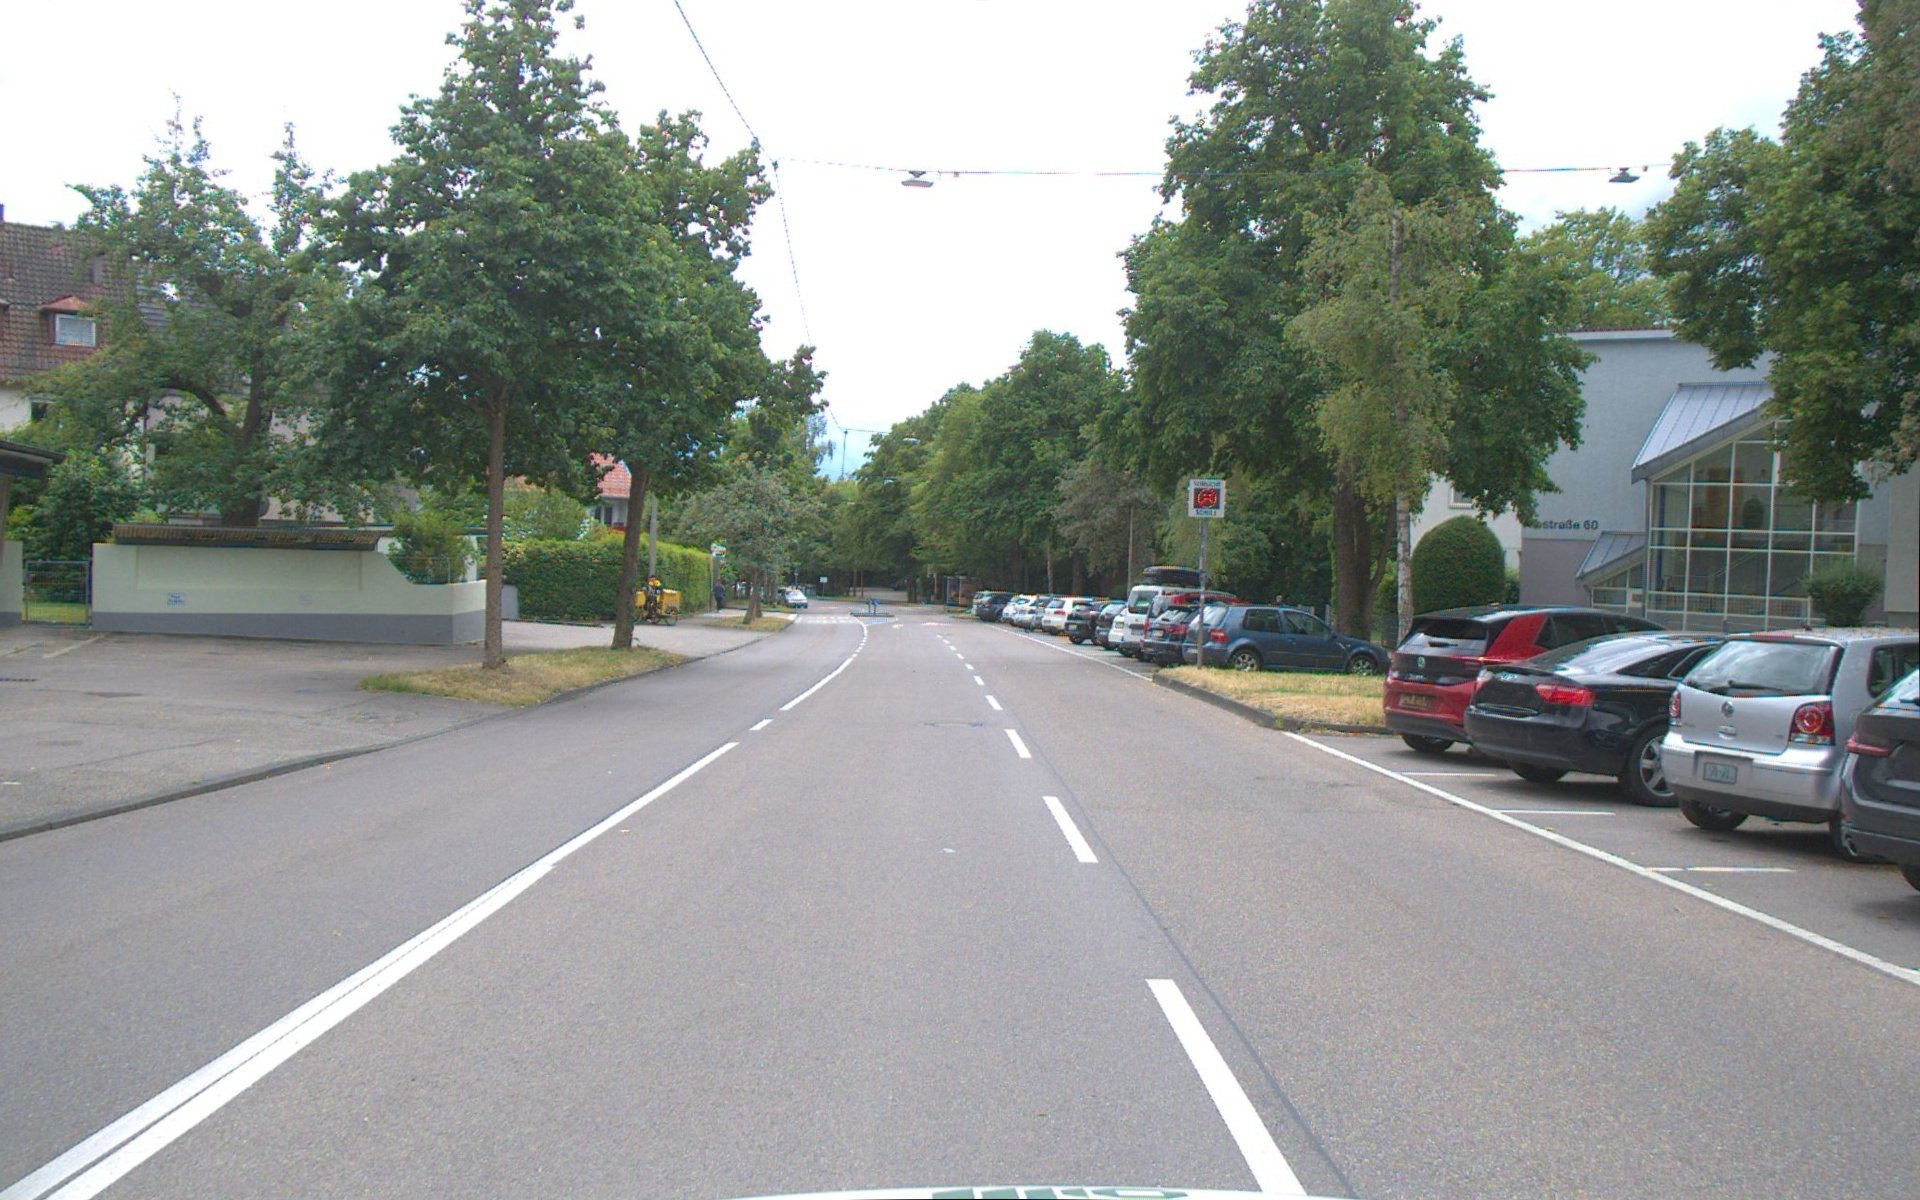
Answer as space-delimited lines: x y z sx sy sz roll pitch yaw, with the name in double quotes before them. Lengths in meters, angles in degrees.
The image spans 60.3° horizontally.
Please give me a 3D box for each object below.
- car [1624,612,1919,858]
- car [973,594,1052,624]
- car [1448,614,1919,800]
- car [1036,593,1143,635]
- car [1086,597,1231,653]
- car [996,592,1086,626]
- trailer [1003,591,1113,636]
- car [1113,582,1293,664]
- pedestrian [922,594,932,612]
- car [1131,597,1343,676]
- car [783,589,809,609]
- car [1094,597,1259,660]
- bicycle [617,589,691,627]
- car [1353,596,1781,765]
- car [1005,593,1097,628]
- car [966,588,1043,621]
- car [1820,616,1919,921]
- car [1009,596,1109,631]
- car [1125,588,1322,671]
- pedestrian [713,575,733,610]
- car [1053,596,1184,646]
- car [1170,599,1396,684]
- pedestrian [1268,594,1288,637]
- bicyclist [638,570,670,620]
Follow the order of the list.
"car" 6.640 0.898 11.429 3.552 1.470 1.627 2 0 -17
"car" 2.781 0.475 88.150 3.828 1.454 1.733 2 0 -21
"car" 6.493 0.889 13.990 4.240 1.364 1.727 2 0 -15
"car" 5.081 0.545 64.976 3.831 1.474 1.732 2 0 -23
"car" 5.854 0.738 48.851 3.828 1.474 1.833 3 0 -21
"car" 3.830 0.422 78.174 3.828 1.454 1.733 2 0 -21
"trailer" 3.962 0.548 67.127 4.093 1.600 1.702 3 0 -20
"car" 5.923 0.565 40.291 4.039 1.785 1.771 3 0 -28
"pedestrian" -2.922 0.283 145.659 0.725 1.597 0.652 1 0 10
"car" 5.753 0.757 34.391 3.967 1.430 1.747 3 0 -19
"car" -12.896 -0.071 129.786 1.832 1.496 3.993 1 0 -8
"car" 5.734 0.742 43.964 3.902 1.474 1.910 3 0 -16
"bicycle" -10.831 0.287 58.662 0.832 1.288 2.636 3 1 41
"car" 6.201 0.795 16.887 4.016 1.542 1.721 2 0 -23
"car" 4.159 0.493 75.606 3.828 1.454 1.733 2 0 -21
"car" 2.443 0.244 90.931 3.828 1.697 1.733 2 0 -21
"car" 6.814 0.917 8.493 4.272 1.470 1.627 2 0 -15
"car" 4.169 0.560 69.820 3.835 1.332 1.730 2 0 -26
"car" 5.940 0.661 37.365 3.933 1.648 1.876 3 0 -17
"pedestrian" -12.227 -0.377 85.270 0.955 1.761 0.848 1 0 -5
"car" 5.142 0.676 53.773 3.834 1.474 1.830 2 0 -25
"car" 6.221 0.792 31.965 3.900 1.430 1.749 3 0 -16
"pedestrian" 12.078 0.582 62.797 0.636 1.631 0.744 1 0 4
"bicyclist" -10.841 -0.166 58.634 0.832 1.727 0.710 3 1 41
